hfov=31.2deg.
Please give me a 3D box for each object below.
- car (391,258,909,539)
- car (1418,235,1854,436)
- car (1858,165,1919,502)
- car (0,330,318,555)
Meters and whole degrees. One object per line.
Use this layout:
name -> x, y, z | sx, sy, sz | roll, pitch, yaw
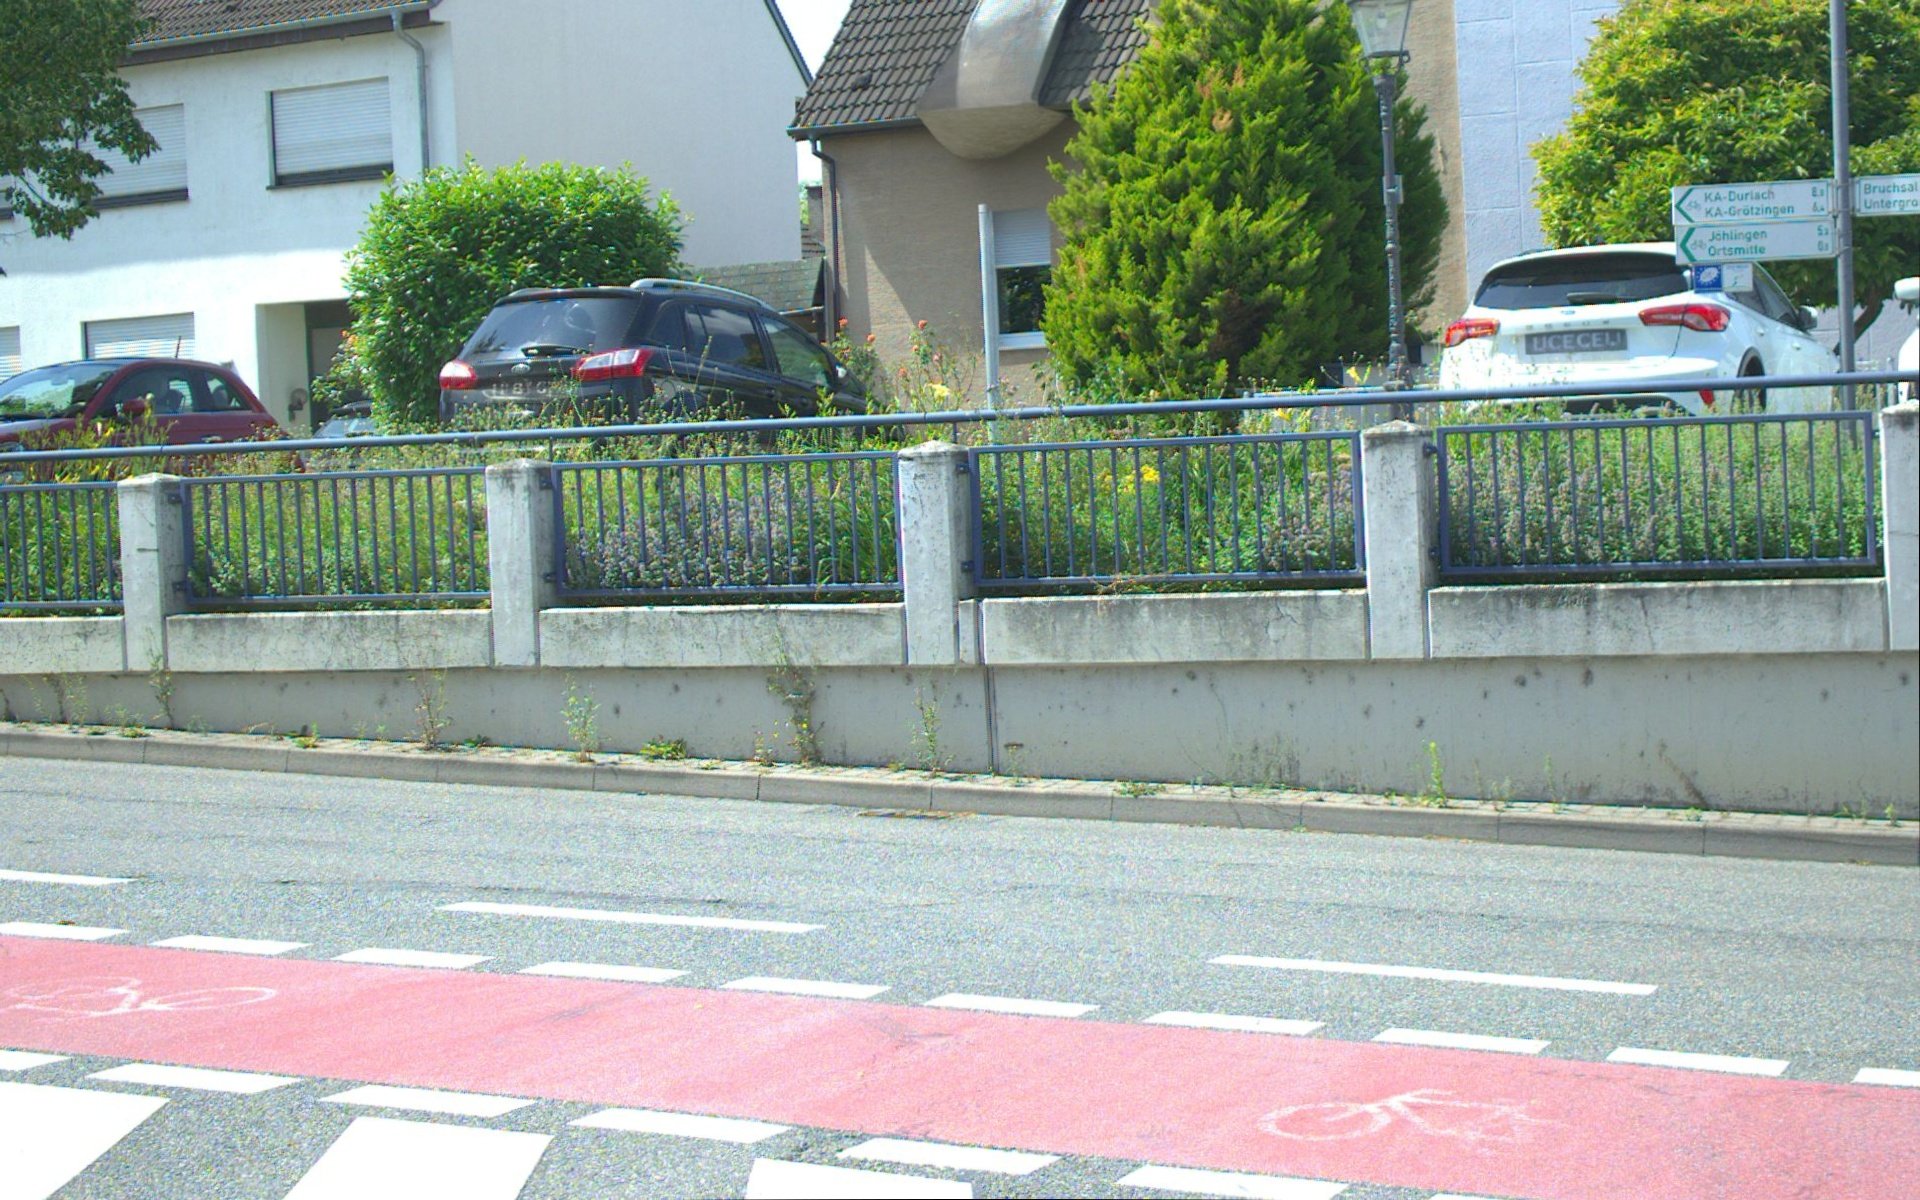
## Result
car -> -2.092, -1.374, 24.369 | 1.870, 1.790, 3.995 | 3, 2, 24
car -> 4.201, -1.582, 20.989 | 1.827, 1.016, 3.455 | 3, 2, 24
car -> 6.620, -1.422, 19.904 | 1.996, 1.790, 4.191 | 3, 2, 24
car -> -6.748, -1.190, 26.230 | 1.870, 1.581, 3.605 | 3, 2, 24
